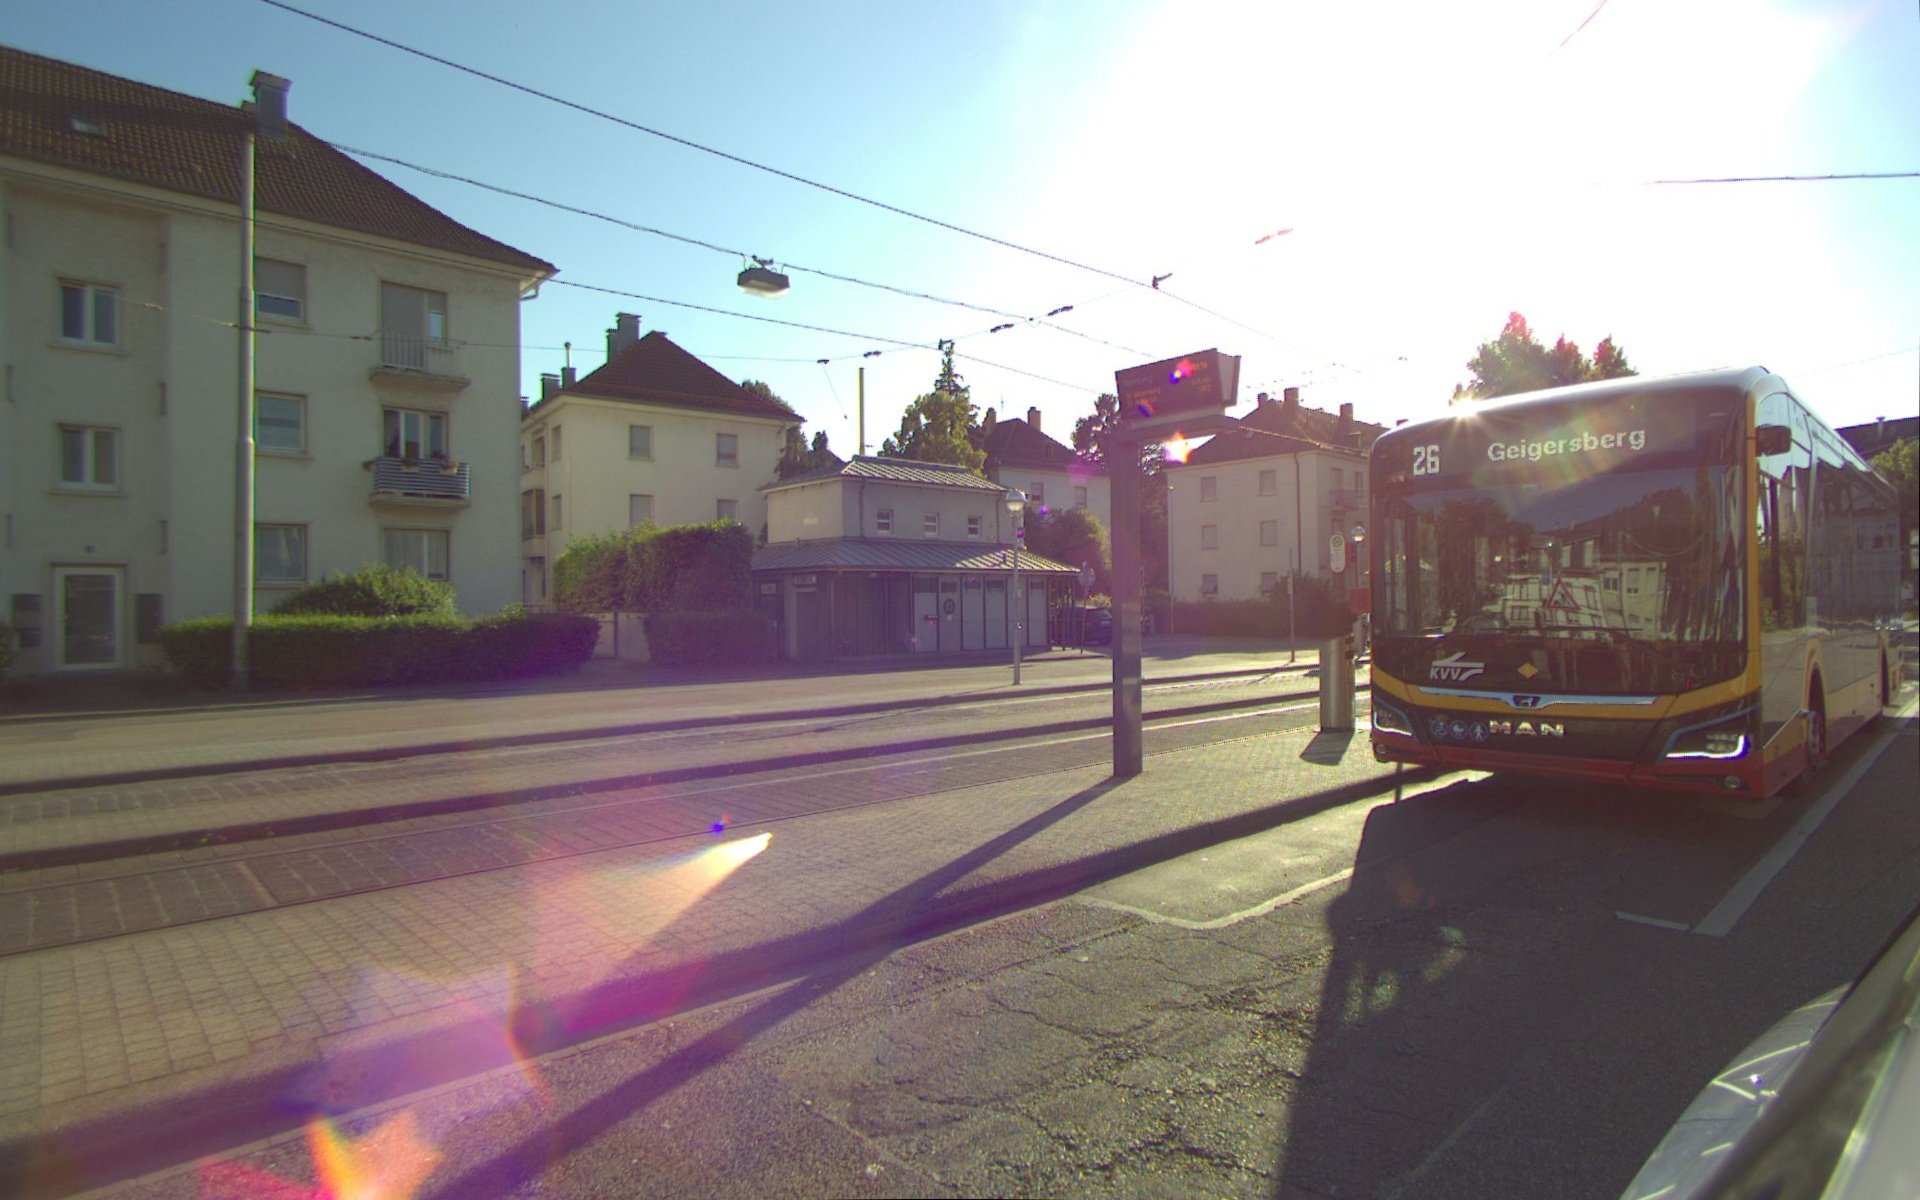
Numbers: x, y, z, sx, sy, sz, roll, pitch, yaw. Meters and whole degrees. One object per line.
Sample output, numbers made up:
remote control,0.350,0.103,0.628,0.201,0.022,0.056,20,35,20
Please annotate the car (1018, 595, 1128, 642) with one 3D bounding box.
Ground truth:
car,4.626,0.723,41.904,1.964,1.791,4.449,0,1,-38

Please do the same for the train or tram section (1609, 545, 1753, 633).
train or tram section,33.794,-0.622,47.108,13.240,3.578,2.960,-2,1,-43

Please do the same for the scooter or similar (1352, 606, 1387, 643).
scooter or similar,14.010,0.841,34.608,1.185,1.223,0.468,0,-1,-32

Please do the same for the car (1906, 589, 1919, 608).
car,79.126,-0.203,81.418,1.574,1.481,4.212,-1,-2,-11

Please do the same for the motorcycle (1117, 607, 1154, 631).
motorcycle,8.711,0.926,50.233,0.549,1.177,1.822,0,-1,-45

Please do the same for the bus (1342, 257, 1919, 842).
bus,8.240,-0.300,11.015,11.815,3.460,2.691,0,-1,-43
